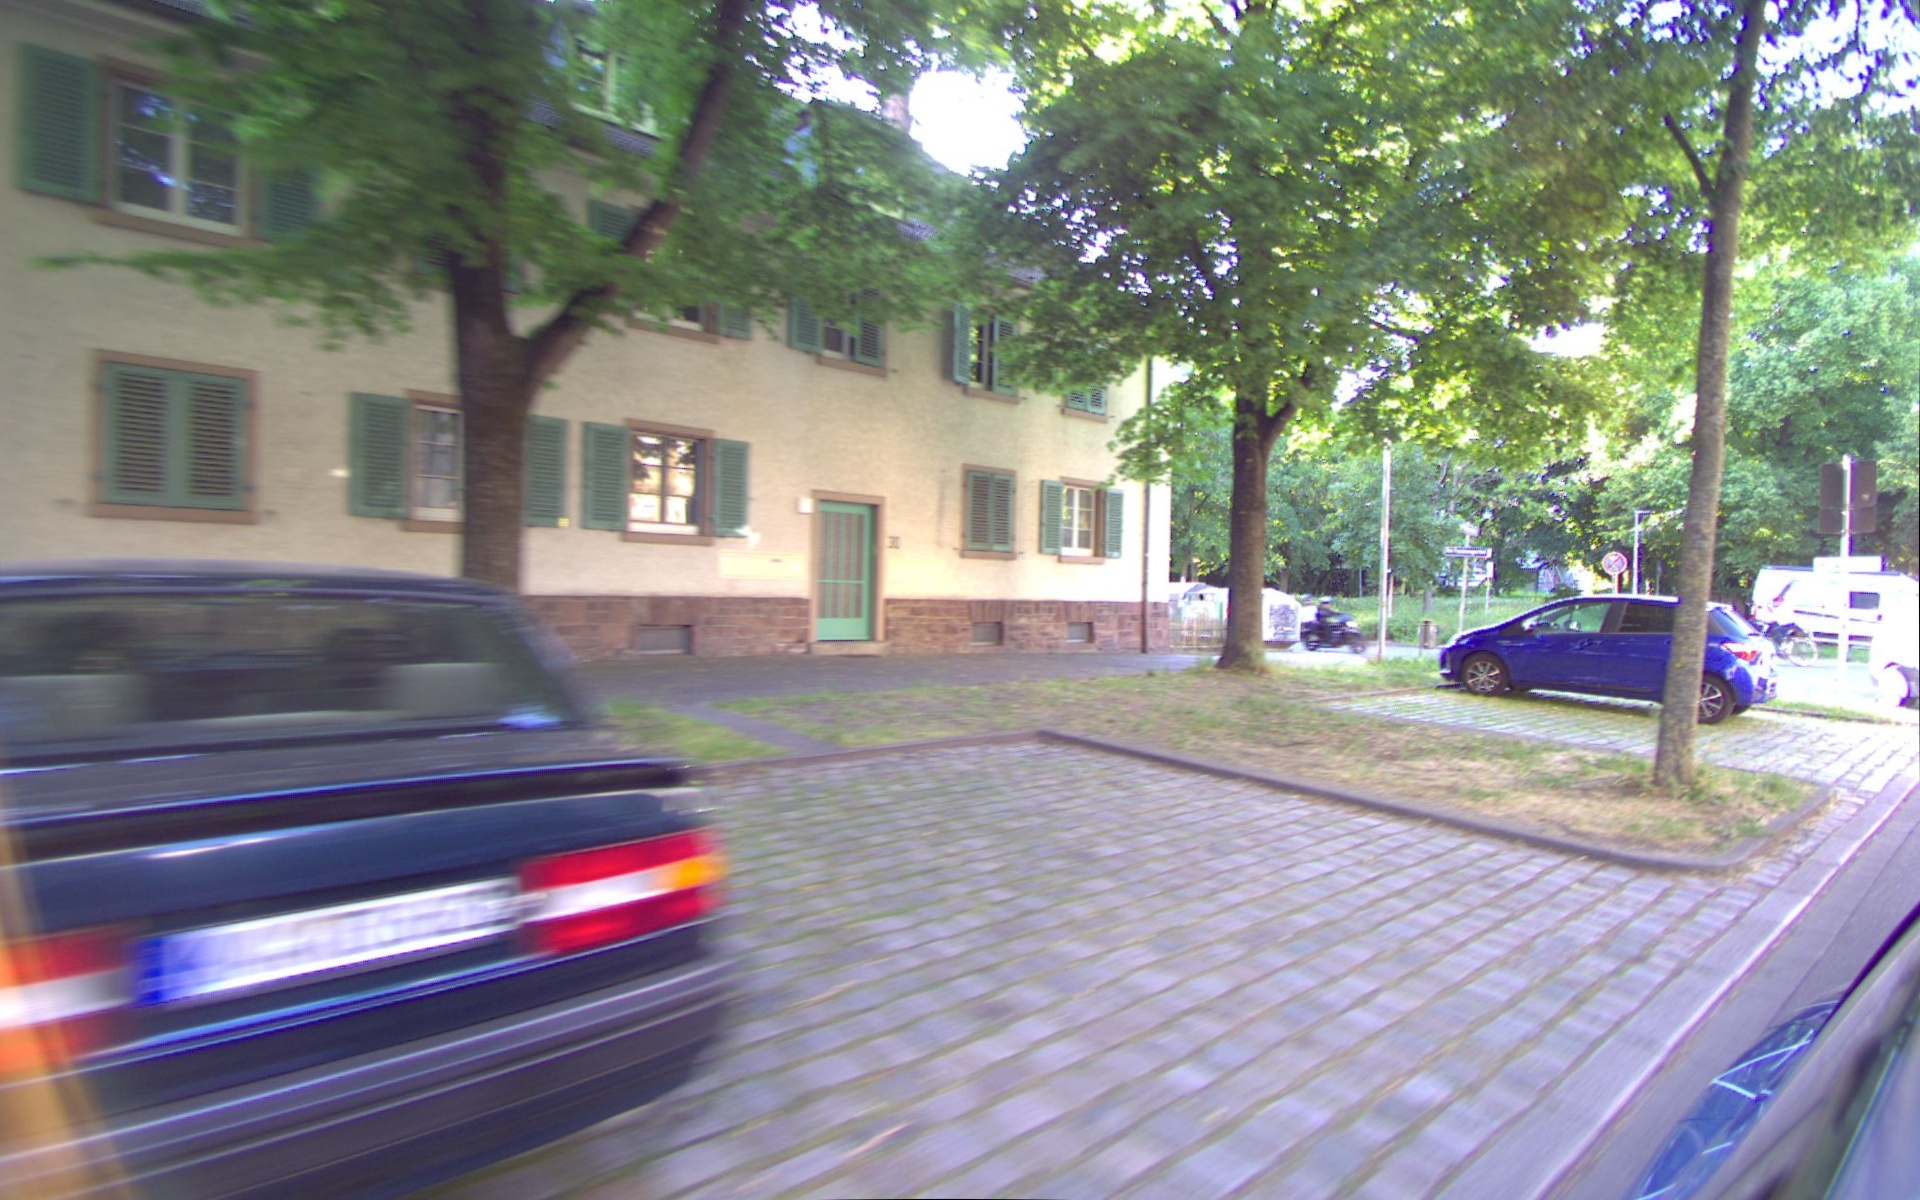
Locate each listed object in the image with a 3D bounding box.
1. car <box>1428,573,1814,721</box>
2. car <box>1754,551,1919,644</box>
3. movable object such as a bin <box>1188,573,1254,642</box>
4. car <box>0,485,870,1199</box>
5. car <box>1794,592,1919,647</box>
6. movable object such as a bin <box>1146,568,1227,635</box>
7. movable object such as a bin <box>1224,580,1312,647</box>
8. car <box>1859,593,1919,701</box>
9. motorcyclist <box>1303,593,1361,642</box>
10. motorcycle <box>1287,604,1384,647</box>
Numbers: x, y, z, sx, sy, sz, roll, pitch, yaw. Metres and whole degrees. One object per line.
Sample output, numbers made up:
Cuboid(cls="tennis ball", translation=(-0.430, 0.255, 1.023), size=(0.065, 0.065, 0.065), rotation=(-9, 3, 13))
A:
Cuboid(cls="car", translation=(8.781, 0.480, 13.686), size=(1.967, 1.574, 3.993), rotation=(-1, 4, -43))
Cuboid(cls="car", translation=(27.524, -0.119, 30.286), size=(2.201, 2.646, 5.621), rotation=(-1, 2, -42))
Cuboid(cls="movable object such as a bin", translation=(7.254, 0.168, 28.156), size=(1.129, 1.850, 1.387), rotation=(-1, 1, -34))
Cuboid(cls="car", translation=(-2.574, 0.418, 3.504), size=(1.910, 1.459, 4.901), rotation=(-1, 4, -43))
Cuboid(cls="car", translation=(29.426, 0.601, 32.145), size=(1.945, 1.594, 4.292), rotation=(-1, 2, -42))
Cuboid(cls="movable object such as a bin", translation=(6.590, 0.007, 29.486), size=(1.890, 1.876, 1.394), rotation=(-1, 2, -34))
Cuboid(cls="movable object such as a bin", translation=(8.184, 0.317, 26.919), size=(1.561, 1.678, 1.640), rotation=(-1, 2, -34))
Cuboid(cls="car", translation=(15.263, 0.718, 14.266), size=(1.862, 1.642, 4.600), rotation=(1, 0, 13))
Cuboid(cls="motorcyclist", translation=(10.734, 0.478, 29.202), size=(0.968, 1.357, 1.228), rotation=(1, 0, -35))
Cuboid(cls="motorcycle", translation=(10.769, 0.711, 29.112), size=(0.967, 1.116, 2.519), rotation=(1, 1, -35))
